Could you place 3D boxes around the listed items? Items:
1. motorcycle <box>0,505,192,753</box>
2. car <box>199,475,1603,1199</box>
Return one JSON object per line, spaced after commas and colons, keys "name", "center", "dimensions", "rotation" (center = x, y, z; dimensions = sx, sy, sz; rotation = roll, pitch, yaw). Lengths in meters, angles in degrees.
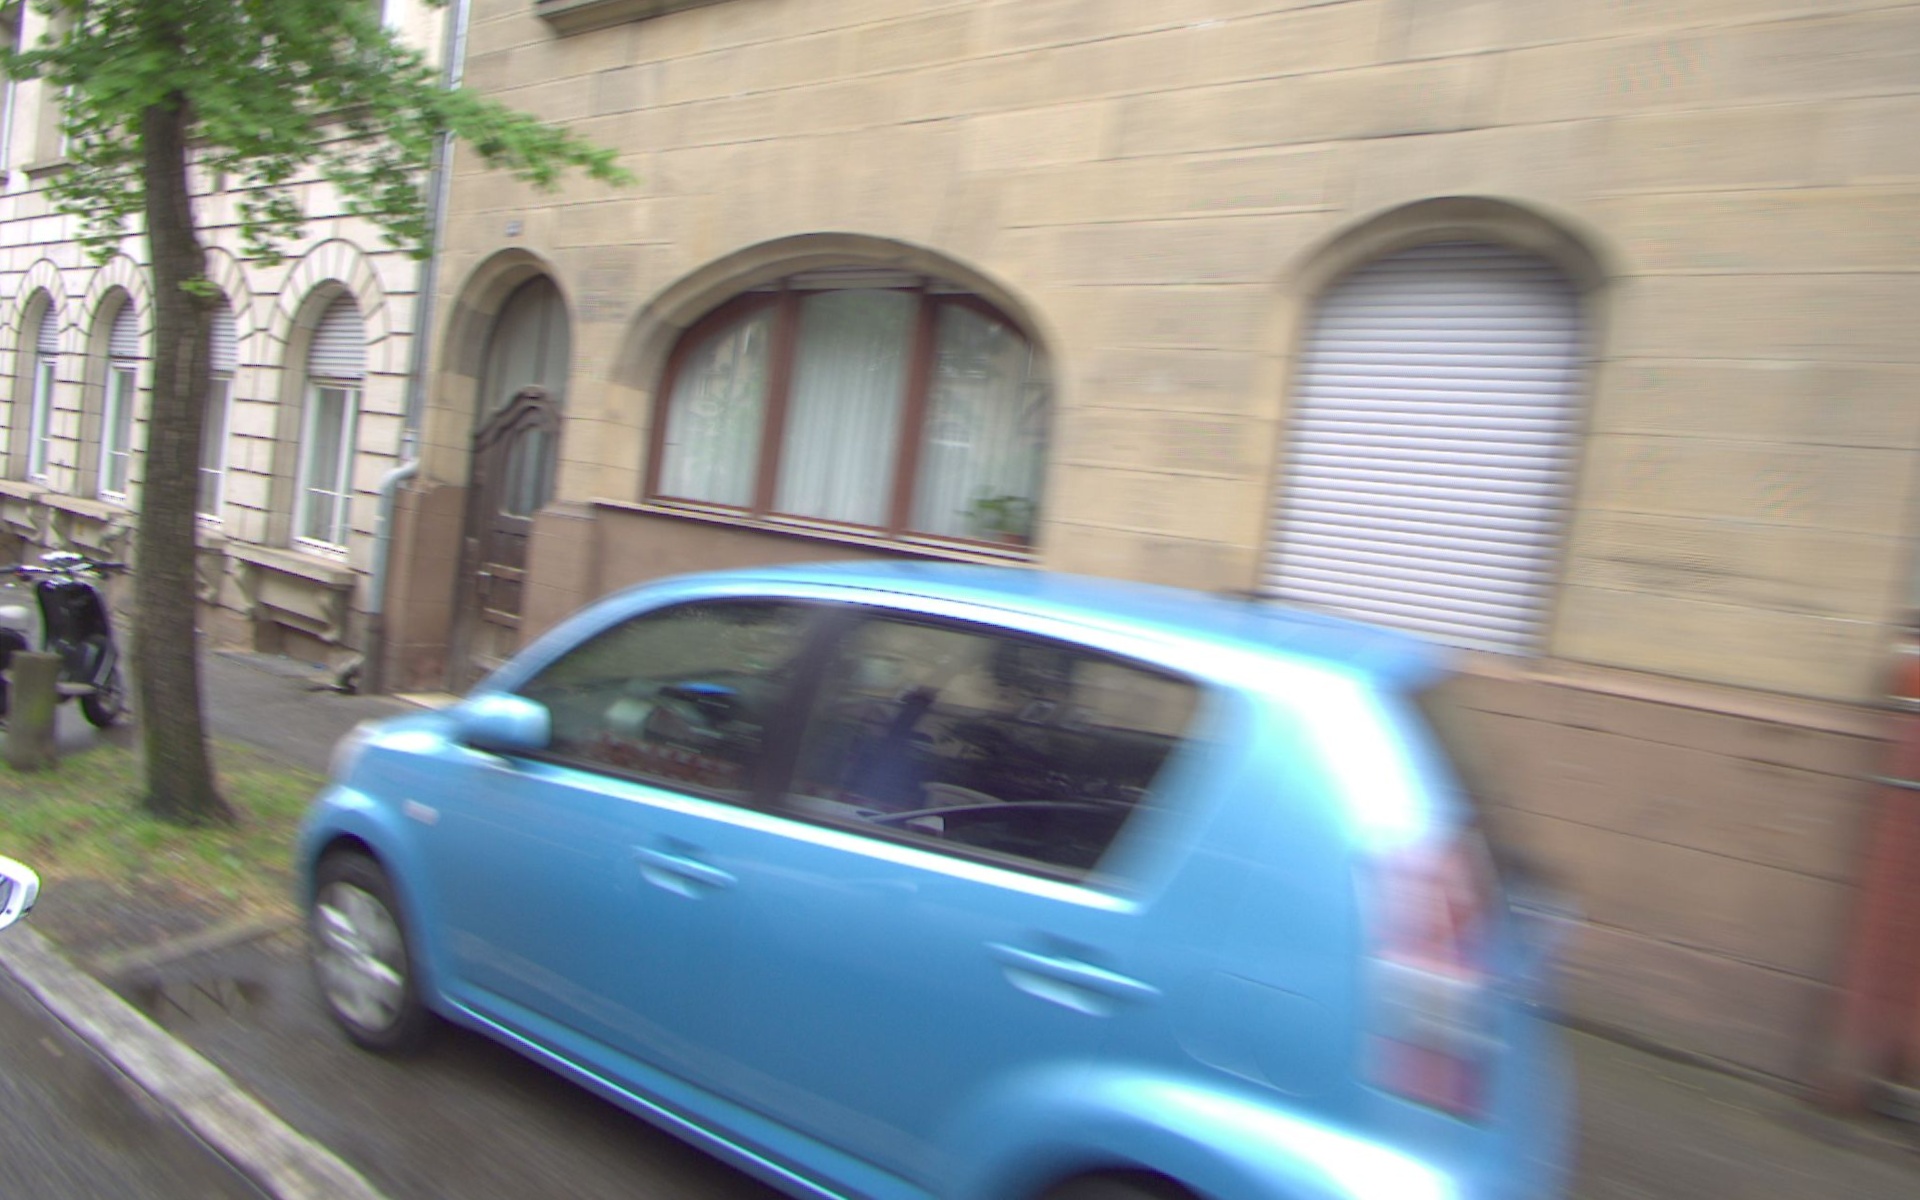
{"name": "motorcycle", "center": [-5.329, 0.124, 5.615], "dimensions": [0.646, 1.252, 1.935], "rotation": [6, 3, -5]}
{"name": "car", "center": [-0.389, 0.593, 2.933], "dimensions": [3.604, 1.564, 1.657], "rotation": [7, 3, 31]}
